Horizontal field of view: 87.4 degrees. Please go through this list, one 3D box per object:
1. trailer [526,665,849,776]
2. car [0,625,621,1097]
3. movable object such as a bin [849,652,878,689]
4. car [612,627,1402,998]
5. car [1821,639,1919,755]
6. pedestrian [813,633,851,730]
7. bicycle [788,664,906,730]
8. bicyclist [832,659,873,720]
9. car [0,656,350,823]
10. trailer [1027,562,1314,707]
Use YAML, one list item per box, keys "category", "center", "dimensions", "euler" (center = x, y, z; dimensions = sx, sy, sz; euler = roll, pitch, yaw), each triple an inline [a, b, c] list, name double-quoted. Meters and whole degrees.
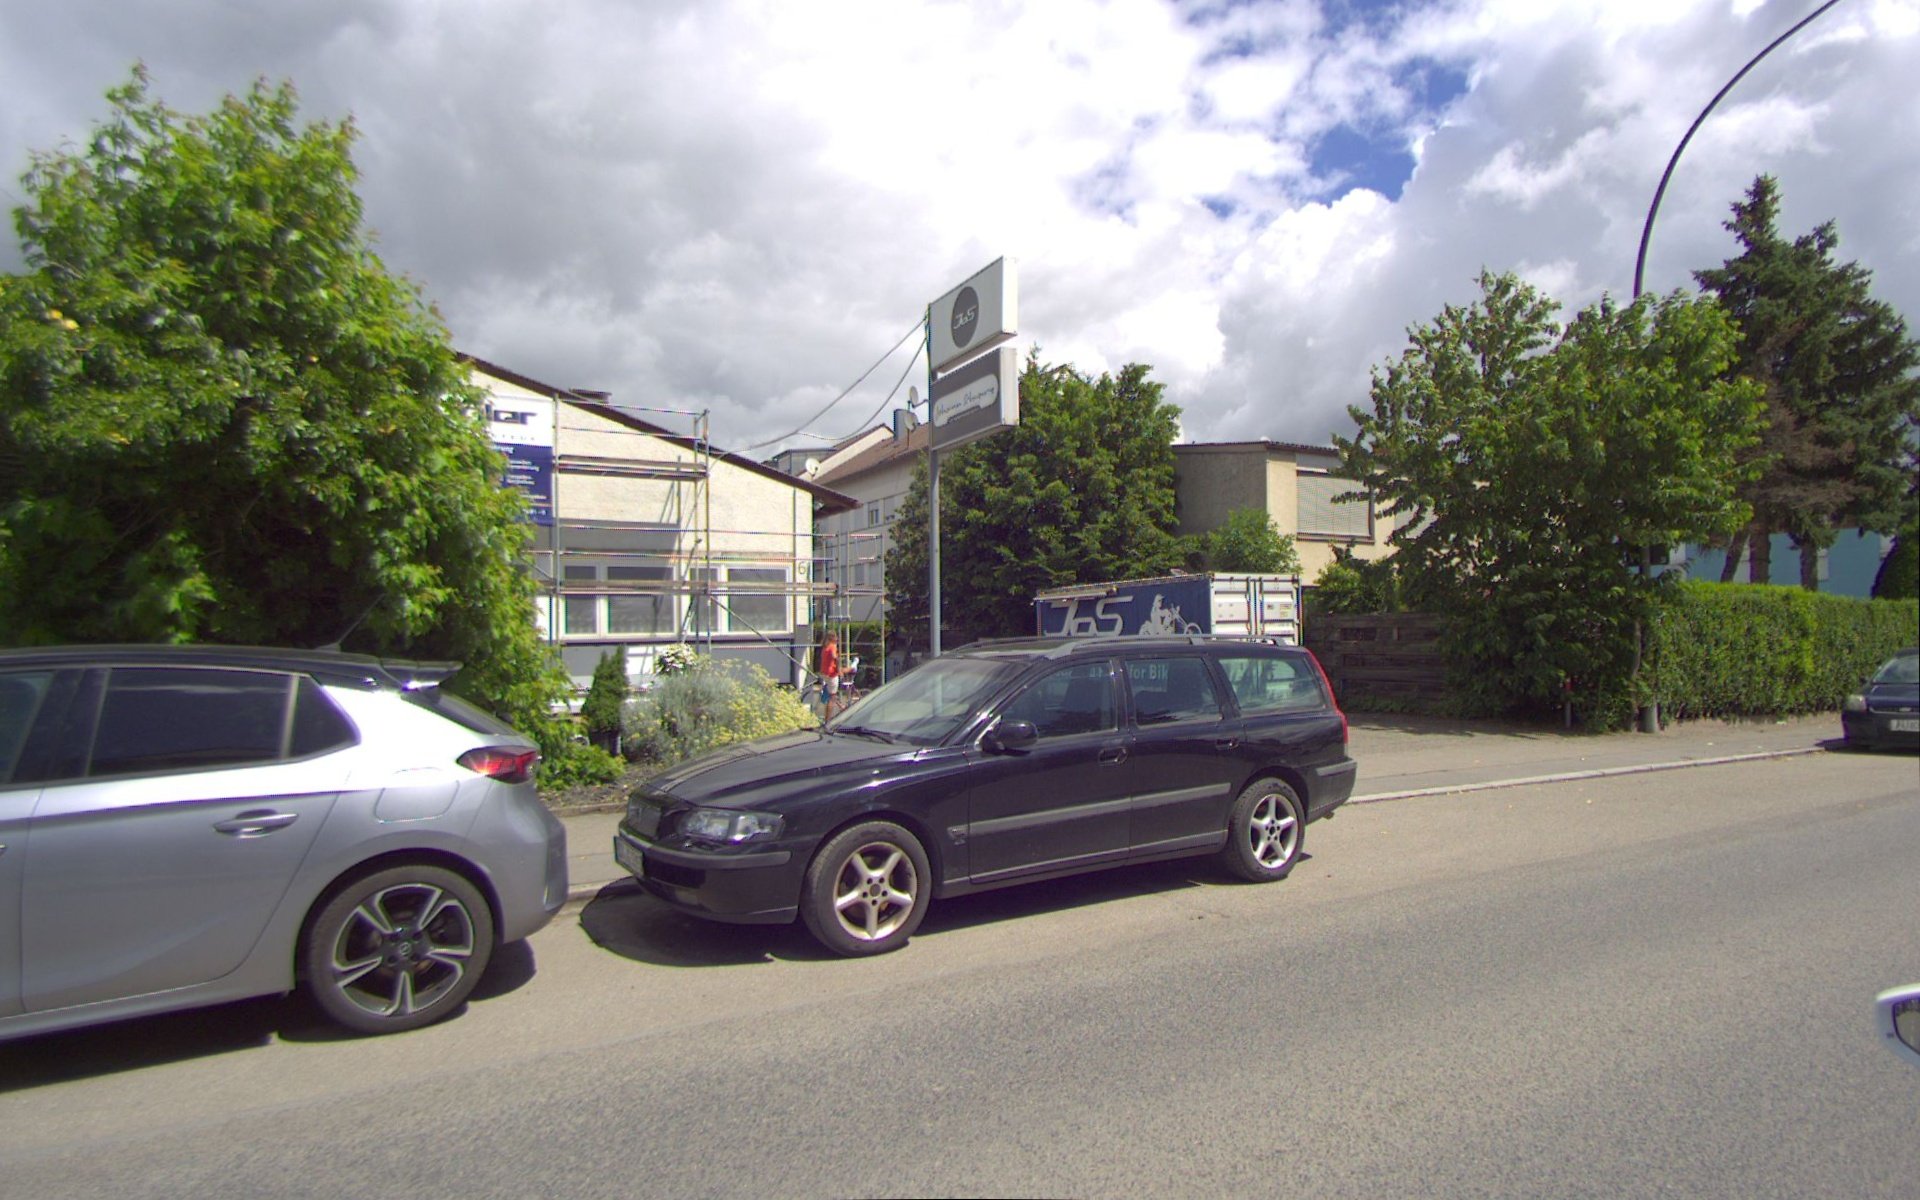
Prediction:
- category: "trailer"
  center: [-3.474, 1.467, 12.977]
  dimensions: [3.770, 1.141, 1.552]
  euler: [1, -2, -30]
- category: "car"
  center: [-3.587, 0.848, 3.736]
  dimensions: [4.152, 1.450, 1.711]
  euler: [1, -3, -32]
- category: "movable object such as a bin"
  center: [-3.146, 2.288, 32.873]
  dimensions: [0.745, 1.157, 0.604]
  euler: [1, 1, -31]
- category: "car"
  center: [0.479, 0.939, 6.117]
  dimensions: [4.682, 1.512, 1.711]
  euler: [1, -3, -32]
- category: "car"
  center: [14.057, 1.299, 14.222]
  dimensions: [3.955, 1.506, 1.632]
  euler: [1, -5, -32]
- category: "pedestrian"
  center: [-2.262, 1.430, 17.761]
  dimensions: [0.491, 1.669, 0.521]
  euler: [1, -3, -30]
- category: "bicycle"
  center: [-2.061, 1.766, 18.572]
  dimensions: [2.159, 1.100, 0.468]
  euler: [1, 1, -31]
- category: "bicyclist"
  center: [-1.987, 1.646, 18.589]
  dimensions: [0.603, 1.075, 0.477]
  euler: [1, 1, -30]
- category: "car"
  center: [-8.699, 1.315, 10.418]
  dimensions: [1.854, 1.405, 4.004]
  euler: [-2, -4, 10]
- category: "trailer"
  center: [4.302, 0.860, 21.956]
  dimensions: [2.699, 2.686, 6.216]
  euler: [1, -4, -29]
